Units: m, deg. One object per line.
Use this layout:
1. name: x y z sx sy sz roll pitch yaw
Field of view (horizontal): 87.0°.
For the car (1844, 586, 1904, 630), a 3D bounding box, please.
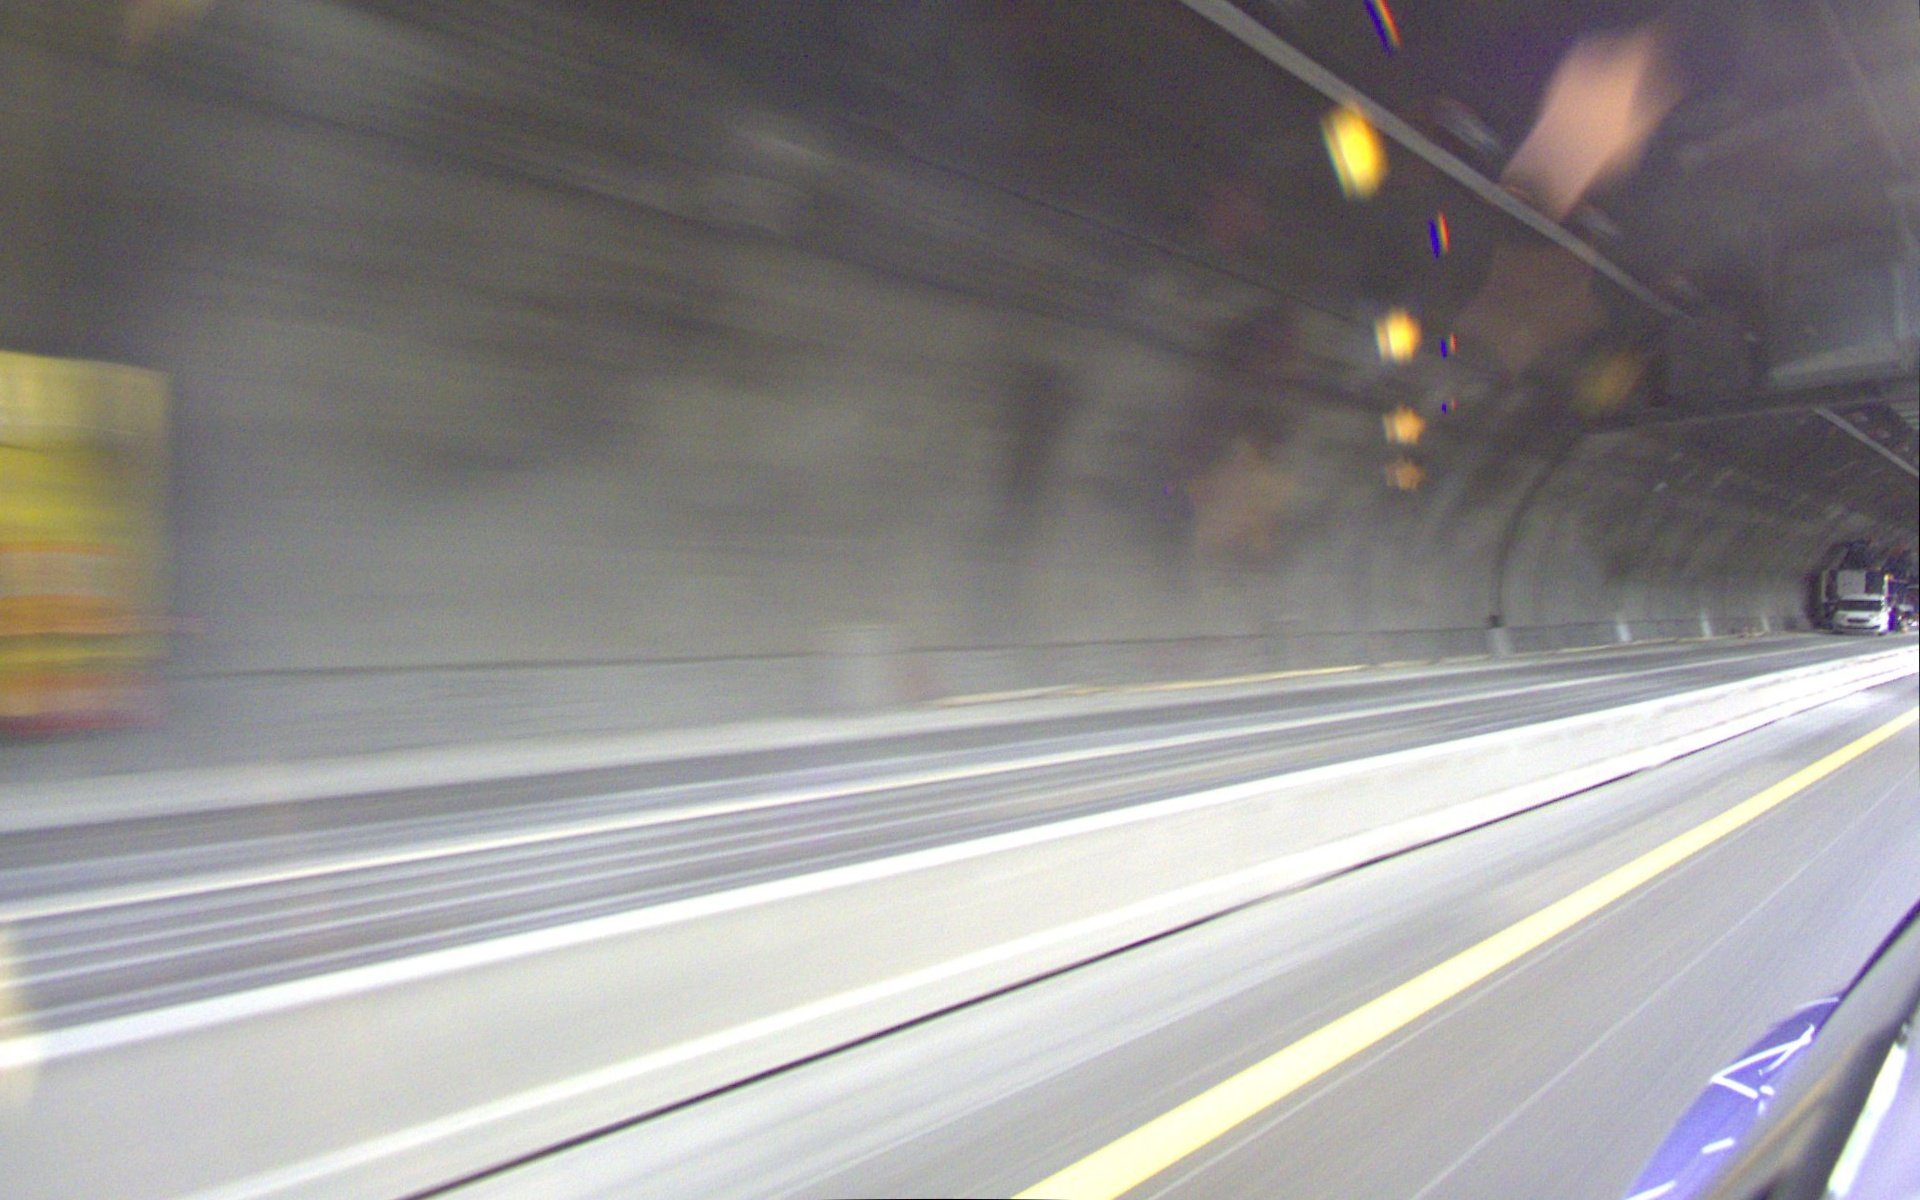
1. car: 41.326 0.315 45.707 4.570 1.868 1.752 0 1 -45
